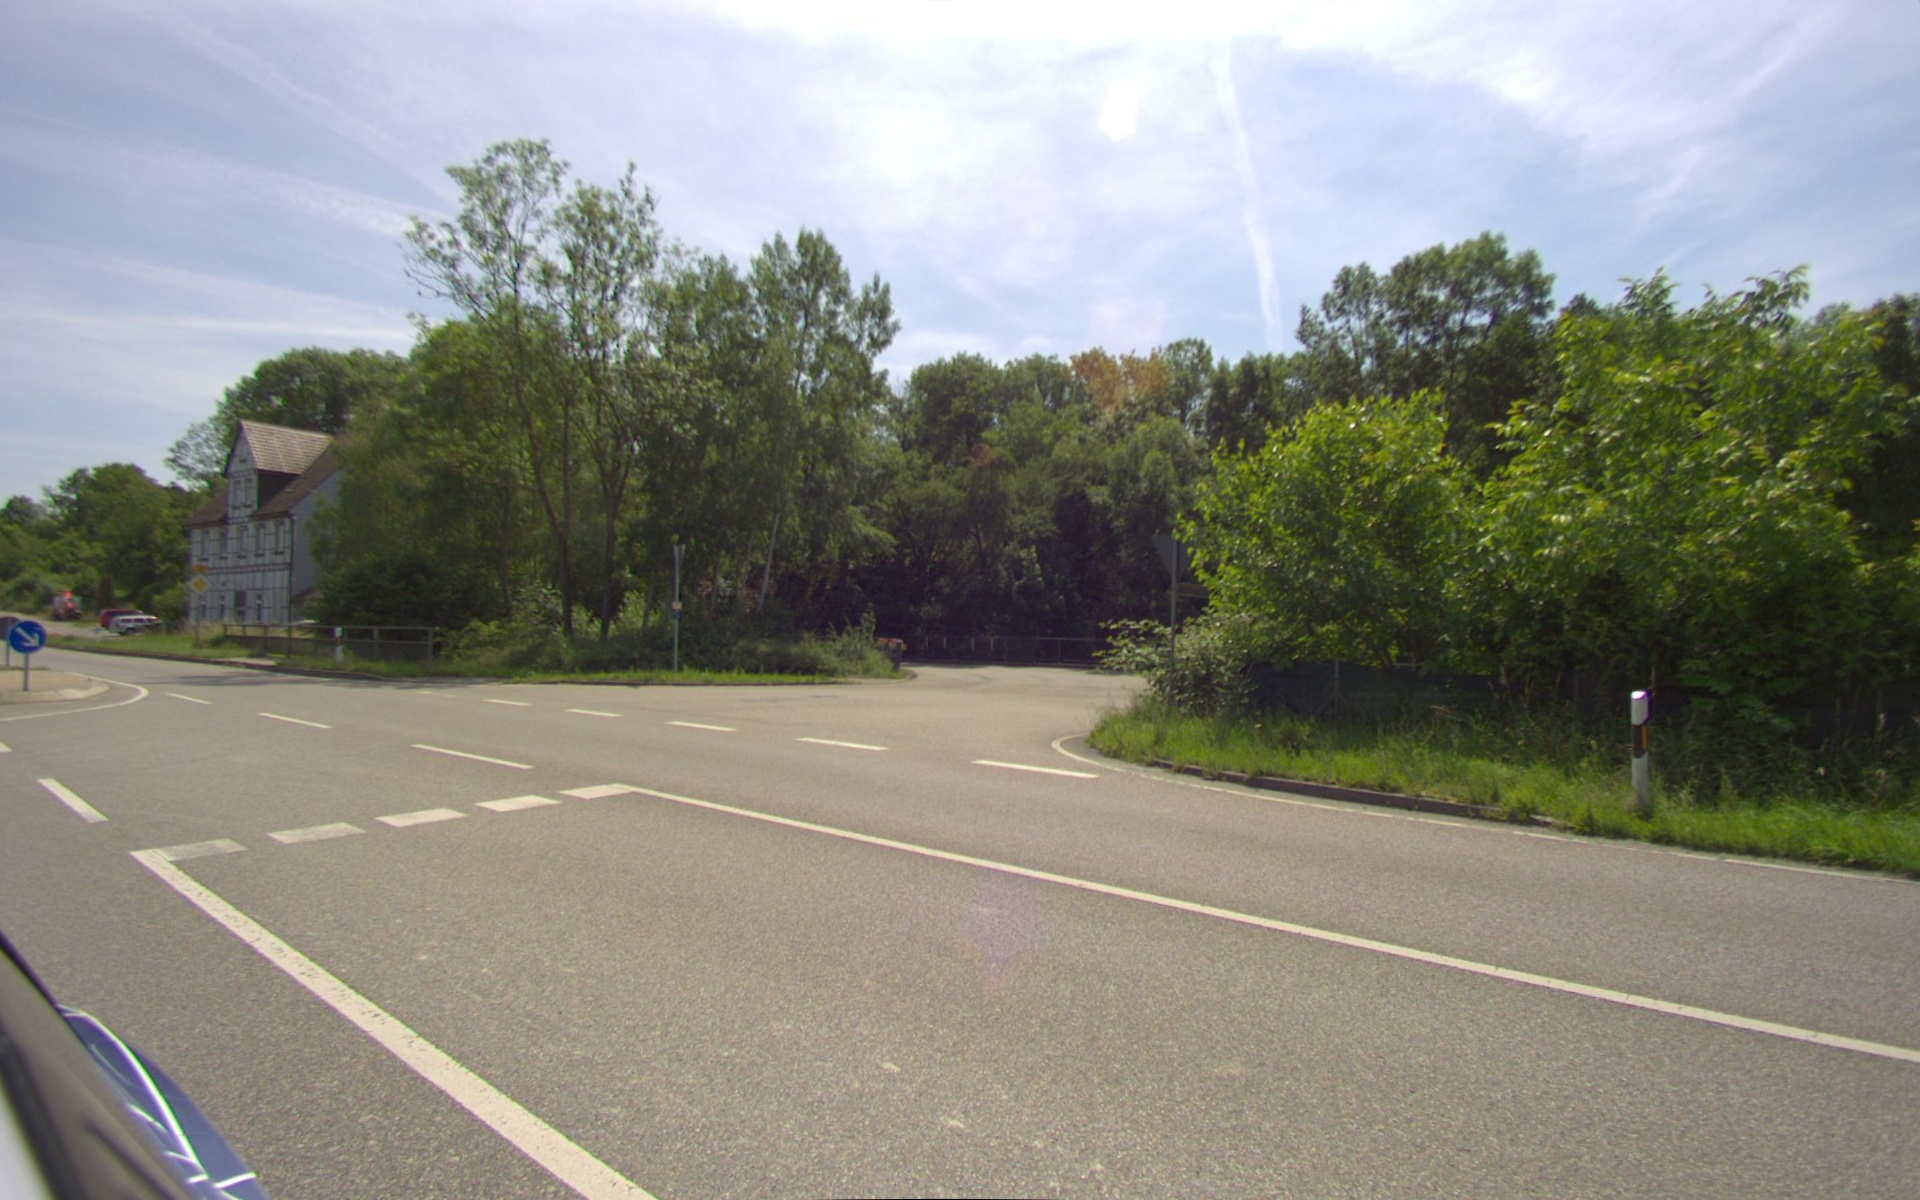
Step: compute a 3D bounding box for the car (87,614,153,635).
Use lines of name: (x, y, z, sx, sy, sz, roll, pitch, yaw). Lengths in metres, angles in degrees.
car: (-69.388, 2.021, 83.651, 1.832, 1.631, 3.985, 1, 0, 41)

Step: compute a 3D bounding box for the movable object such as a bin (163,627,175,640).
movable object such as a bin: (-59.466, 2.519, 76.095, 0.653, 0.983, 0.499, 1, 0, 33)

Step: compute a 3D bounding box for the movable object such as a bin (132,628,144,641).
movable object such as a bin: (-60.507, 2.537, 74.466, 0.653, 0.943, 0.499, 1, 0, 33)

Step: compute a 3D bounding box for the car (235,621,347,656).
car: (-35.453, 2.007, 53.716, 1.858, 1.733, 4.621, -3, -2, 36)

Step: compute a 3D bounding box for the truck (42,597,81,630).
truck: (-85.759, 1.227, 96.572, 6.770, 2.986, 2.005, 1, 0, 41)

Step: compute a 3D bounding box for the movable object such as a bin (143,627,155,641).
movable object such as a bin: (-60.080, 2.520, 75.013, 0.653, 0.977, 0.499, 1, 0, 33)

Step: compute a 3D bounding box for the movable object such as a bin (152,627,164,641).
movable object such as a bin: (-59.786, 2.537, 75.469, 0.653, 0.978, 0.499, 1, 0, 33)

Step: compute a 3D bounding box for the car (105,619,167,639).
car: (-62.252, 2.178, 76.494, 1.606, 1.476, 3.349, 0, 0, 34)
